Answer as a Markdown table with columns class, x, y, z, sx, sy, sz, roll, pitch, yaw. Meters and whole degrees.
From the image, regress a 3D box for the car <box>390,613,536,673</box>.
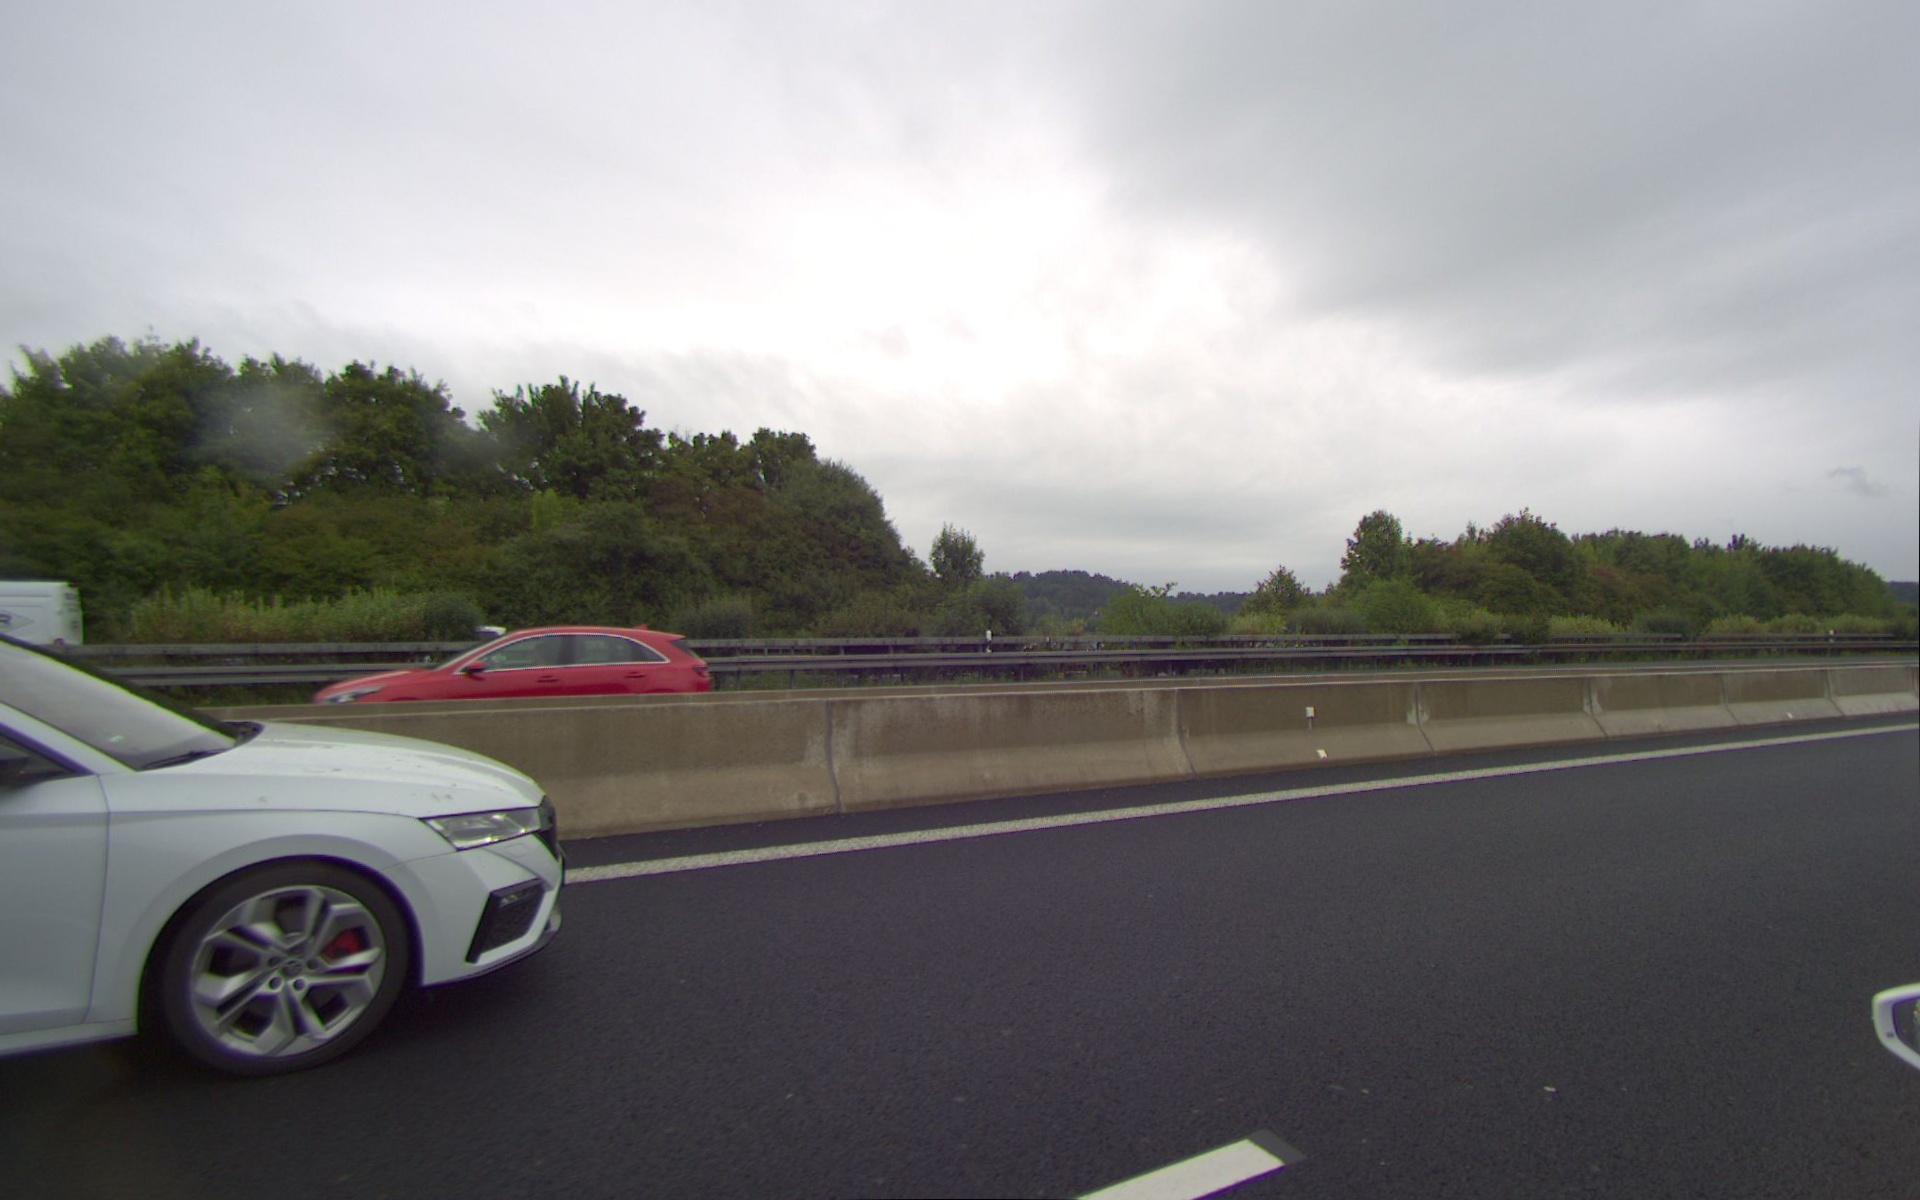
| class | x | y | z | sx | sy | sz | roll | pitch | yaw |
| --- | --- | --- | --- | --- | --- | --- | --- | --- | --- |
| car | -15.568 | 1.334 | 31.502 | 3.956 | 1.793 | 1.694 | 2 | -1 | -32 |

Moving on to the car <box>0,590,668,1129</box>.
| class | x | y | z | sx | sy | sz | roll | pitch | yaw |
| --- | --- | --- | --- | --- | --- | --- | --- | --- | --- |
| car | -3.556 | 0.706 | 3.255 | 4.722 | 1.475 | 1.810 | 2 | -1 | -31 |

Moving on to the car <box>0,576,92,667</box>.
| class | x | y | z | sx | sy | sz | roll | pitch | yaw |
| --- | --- | --- | --- | --- | --- | --- | --- | --- | --- |
| car | -23.177 | 0.454 | 22.570 | 5.237 | 2.040 | 1.865 | 2 | -1 | -30 |

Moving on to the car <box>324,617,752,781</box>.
| class | x | y | z | sx | sy | sz | roll | pitch | yaw |
| --- | --- | --- | --- | --- | --- | --- | --- | --- | --- |
| car | -4.808 | 1.043 | 11.748 | 4.304 | 1.601 | 1.800 | 2 | -1 | -30 |

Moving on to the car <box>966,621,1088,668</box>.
| class | x | y | z | sx | sy | sz | roll | pitch | yaw |
| --- | --- | --- | --- | --- | --- | --- | --- | --- | --- |
| car | 2.353 | 1.543 | 34.957 | 3.953 | 1.528 | 1.696 | 2 | -1 | -30 |
